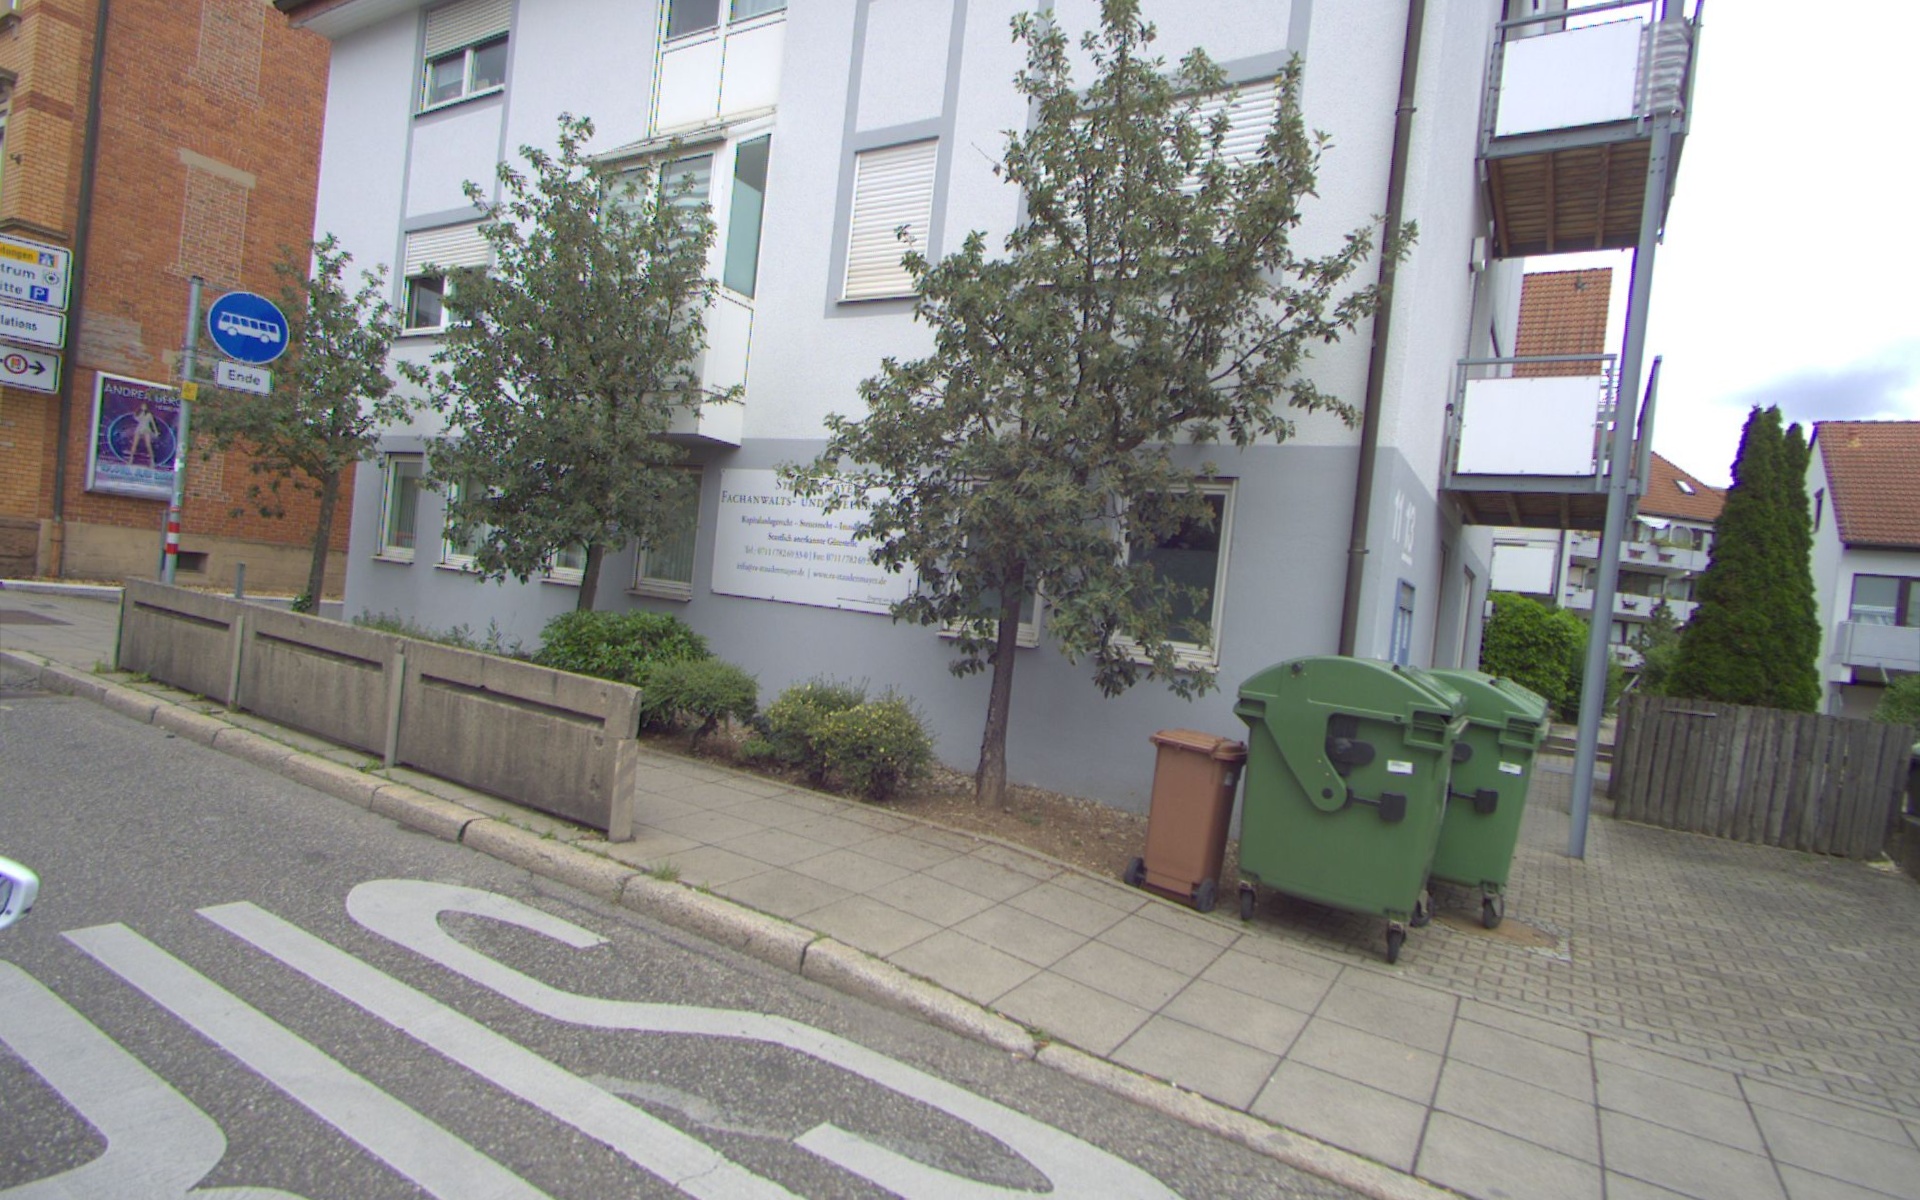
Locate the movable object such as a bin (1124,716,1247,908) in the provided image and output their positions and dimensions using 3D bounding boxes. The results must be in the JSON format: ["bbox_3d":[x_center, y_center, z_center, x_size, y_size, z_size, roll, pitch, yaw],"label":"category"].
[{"bbox_3d":[1.261,1.153,5.611,0.457,0.932,0.430,7,1,32],"label":"movable object such as a bin"}]

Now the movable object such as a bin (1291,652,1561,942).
[{"bbox_3d":[3.009,1.150,6.442,1.285,1.453,1.268,7,1,32],"label":"movable object such as a bin"}]

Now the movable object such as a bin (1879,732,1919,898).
[{"bbox_3d":[9.413,2.046,9.167,1.239,1.435,1.210,7,1,35],"label":"movable object such as a bin"}]

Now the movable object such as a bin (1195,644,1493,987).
[{"bbox_3d":[2.099,1.037,5.415,1.143,1.435,1.268,7,1,32],"label":"movable object such as a bin"}]

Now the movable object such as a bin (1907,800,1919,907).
[{"bbox_3d":[8.718,1.956,8.133,1.239,1.435,1.210,7,1,35],"label":"movable object such as a bin"}]
